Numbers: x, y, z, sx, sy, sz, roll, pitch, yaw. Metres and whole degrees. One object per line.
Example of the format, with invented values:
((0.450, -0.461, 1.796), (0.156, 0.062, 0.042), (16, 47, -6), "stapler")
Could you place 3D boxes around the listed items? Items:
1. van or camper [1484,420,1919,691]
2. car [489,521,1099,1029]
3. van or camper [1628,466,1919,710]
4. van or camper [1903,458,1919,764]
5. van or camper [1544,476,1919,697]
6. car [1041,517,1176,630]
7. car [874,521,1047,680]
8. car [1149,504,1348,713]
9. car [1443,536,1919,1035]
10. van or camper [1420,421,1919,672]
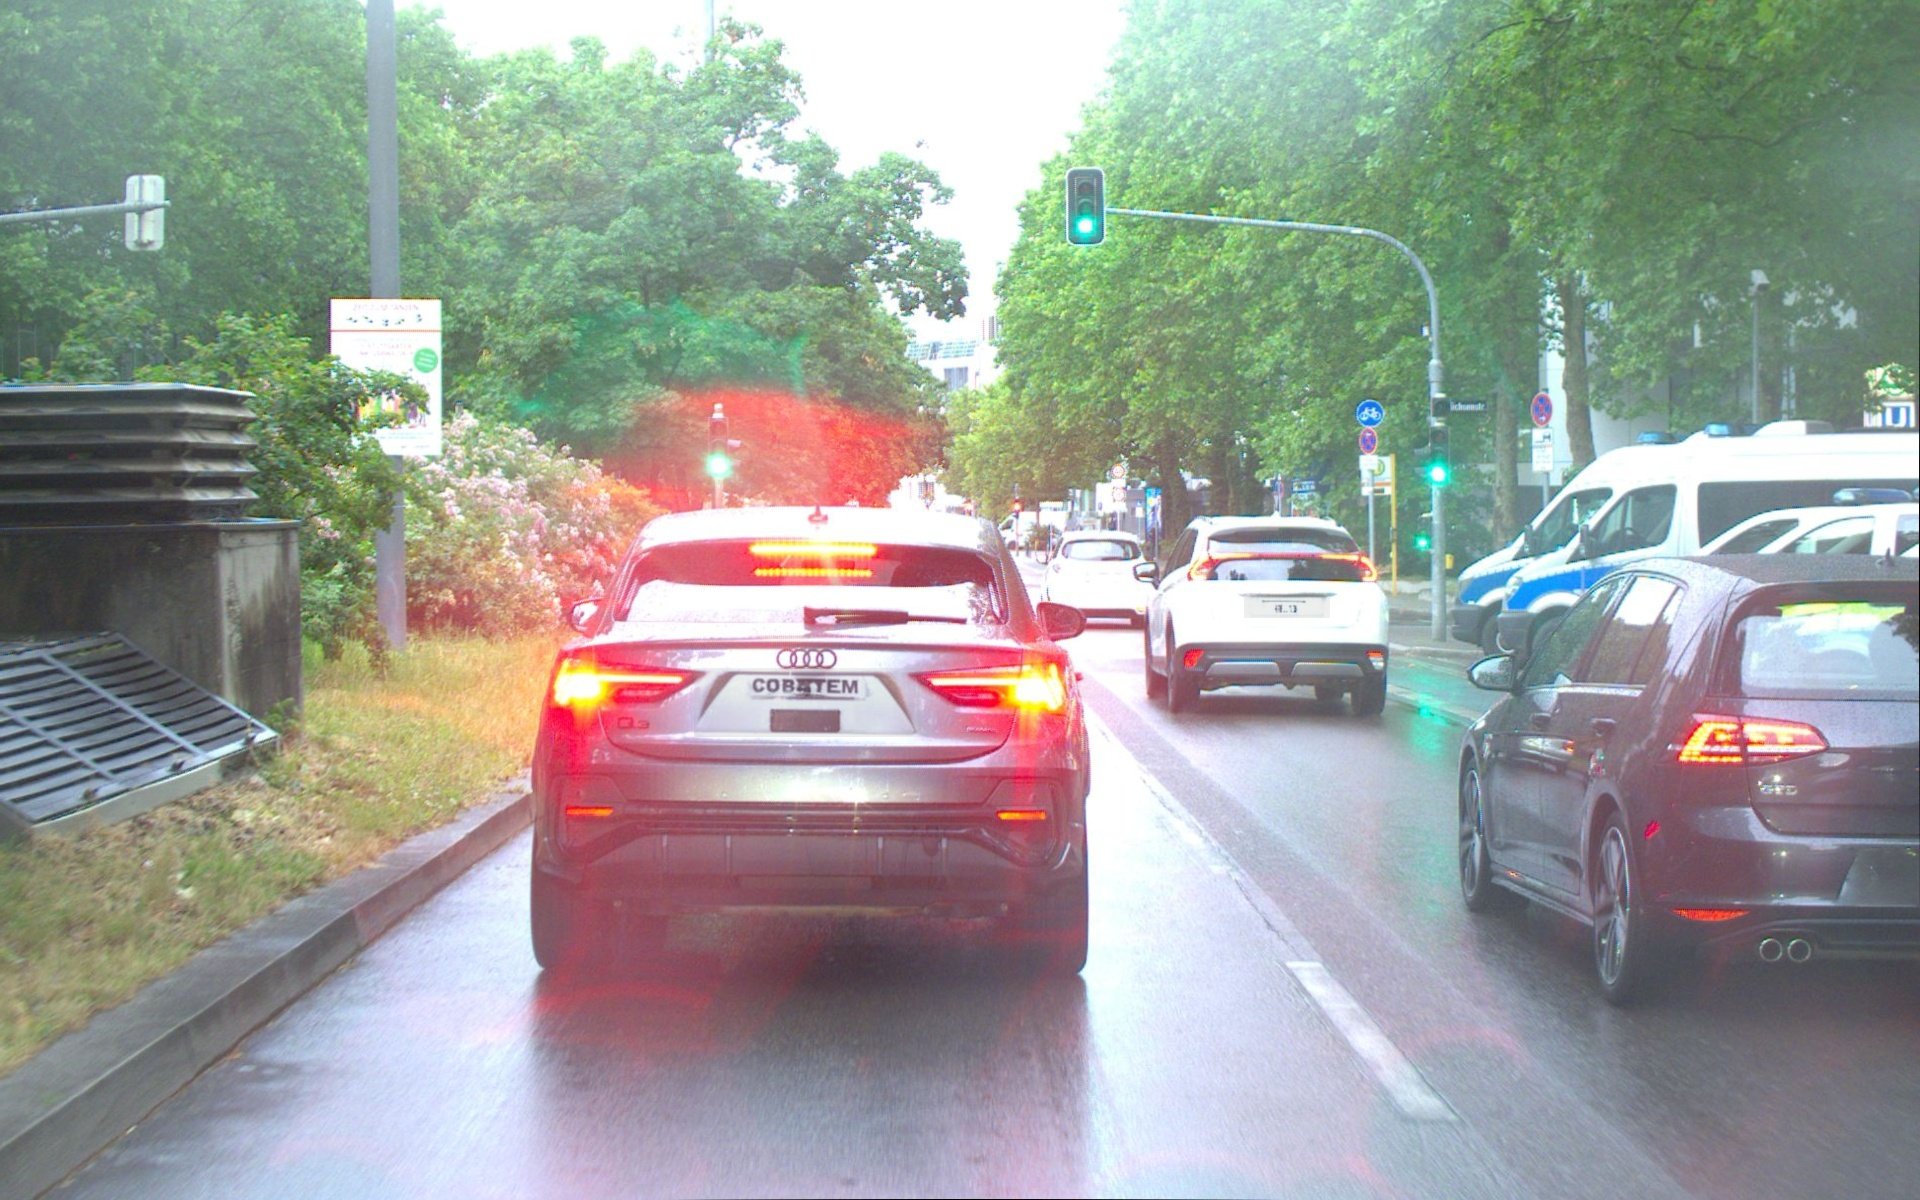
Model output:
((8.530, -0.482, 35.772), (5.805, 2.671, 1.996), (1, 2, 35), "van or camper")
((-0.477, 0.484, 12.788), (1.863, 1.527, 4.527), (0, 2, 1), "car")
((8.476, -0.086, 28.920), (5.203, 1.985, 1.996), (2, 1, 34), "van or camper")
((8.893, 0.100, 21.978), (5.102, 2.018, 2.101), (1, 2, 37), "van or camper")
((8.285, -0.132, 32.652), (5.011, 2.007, 1.996), (1, 0, 35), "van or camper")
((2.364, -0.462, 55.671), (1.993, 1.744, 4.000), (0, 1, 0), "car")
((-0.019, -0.040, 36.219), (1.721, 1.572, 3.962), (0, 1, -1), "car")
((2.410, 0.033, 29.267), (1.433, 1.679, 2.979), (0, 1, 0), "car")
((2.895, 0.504, 12.007), (1.765, 1.408, 4.001), (0, 2, -1), "car")
((8.331, -0.638, 39.152), (5.810, 2.668, 2.143), (1, 1, 37), "van or camper")
